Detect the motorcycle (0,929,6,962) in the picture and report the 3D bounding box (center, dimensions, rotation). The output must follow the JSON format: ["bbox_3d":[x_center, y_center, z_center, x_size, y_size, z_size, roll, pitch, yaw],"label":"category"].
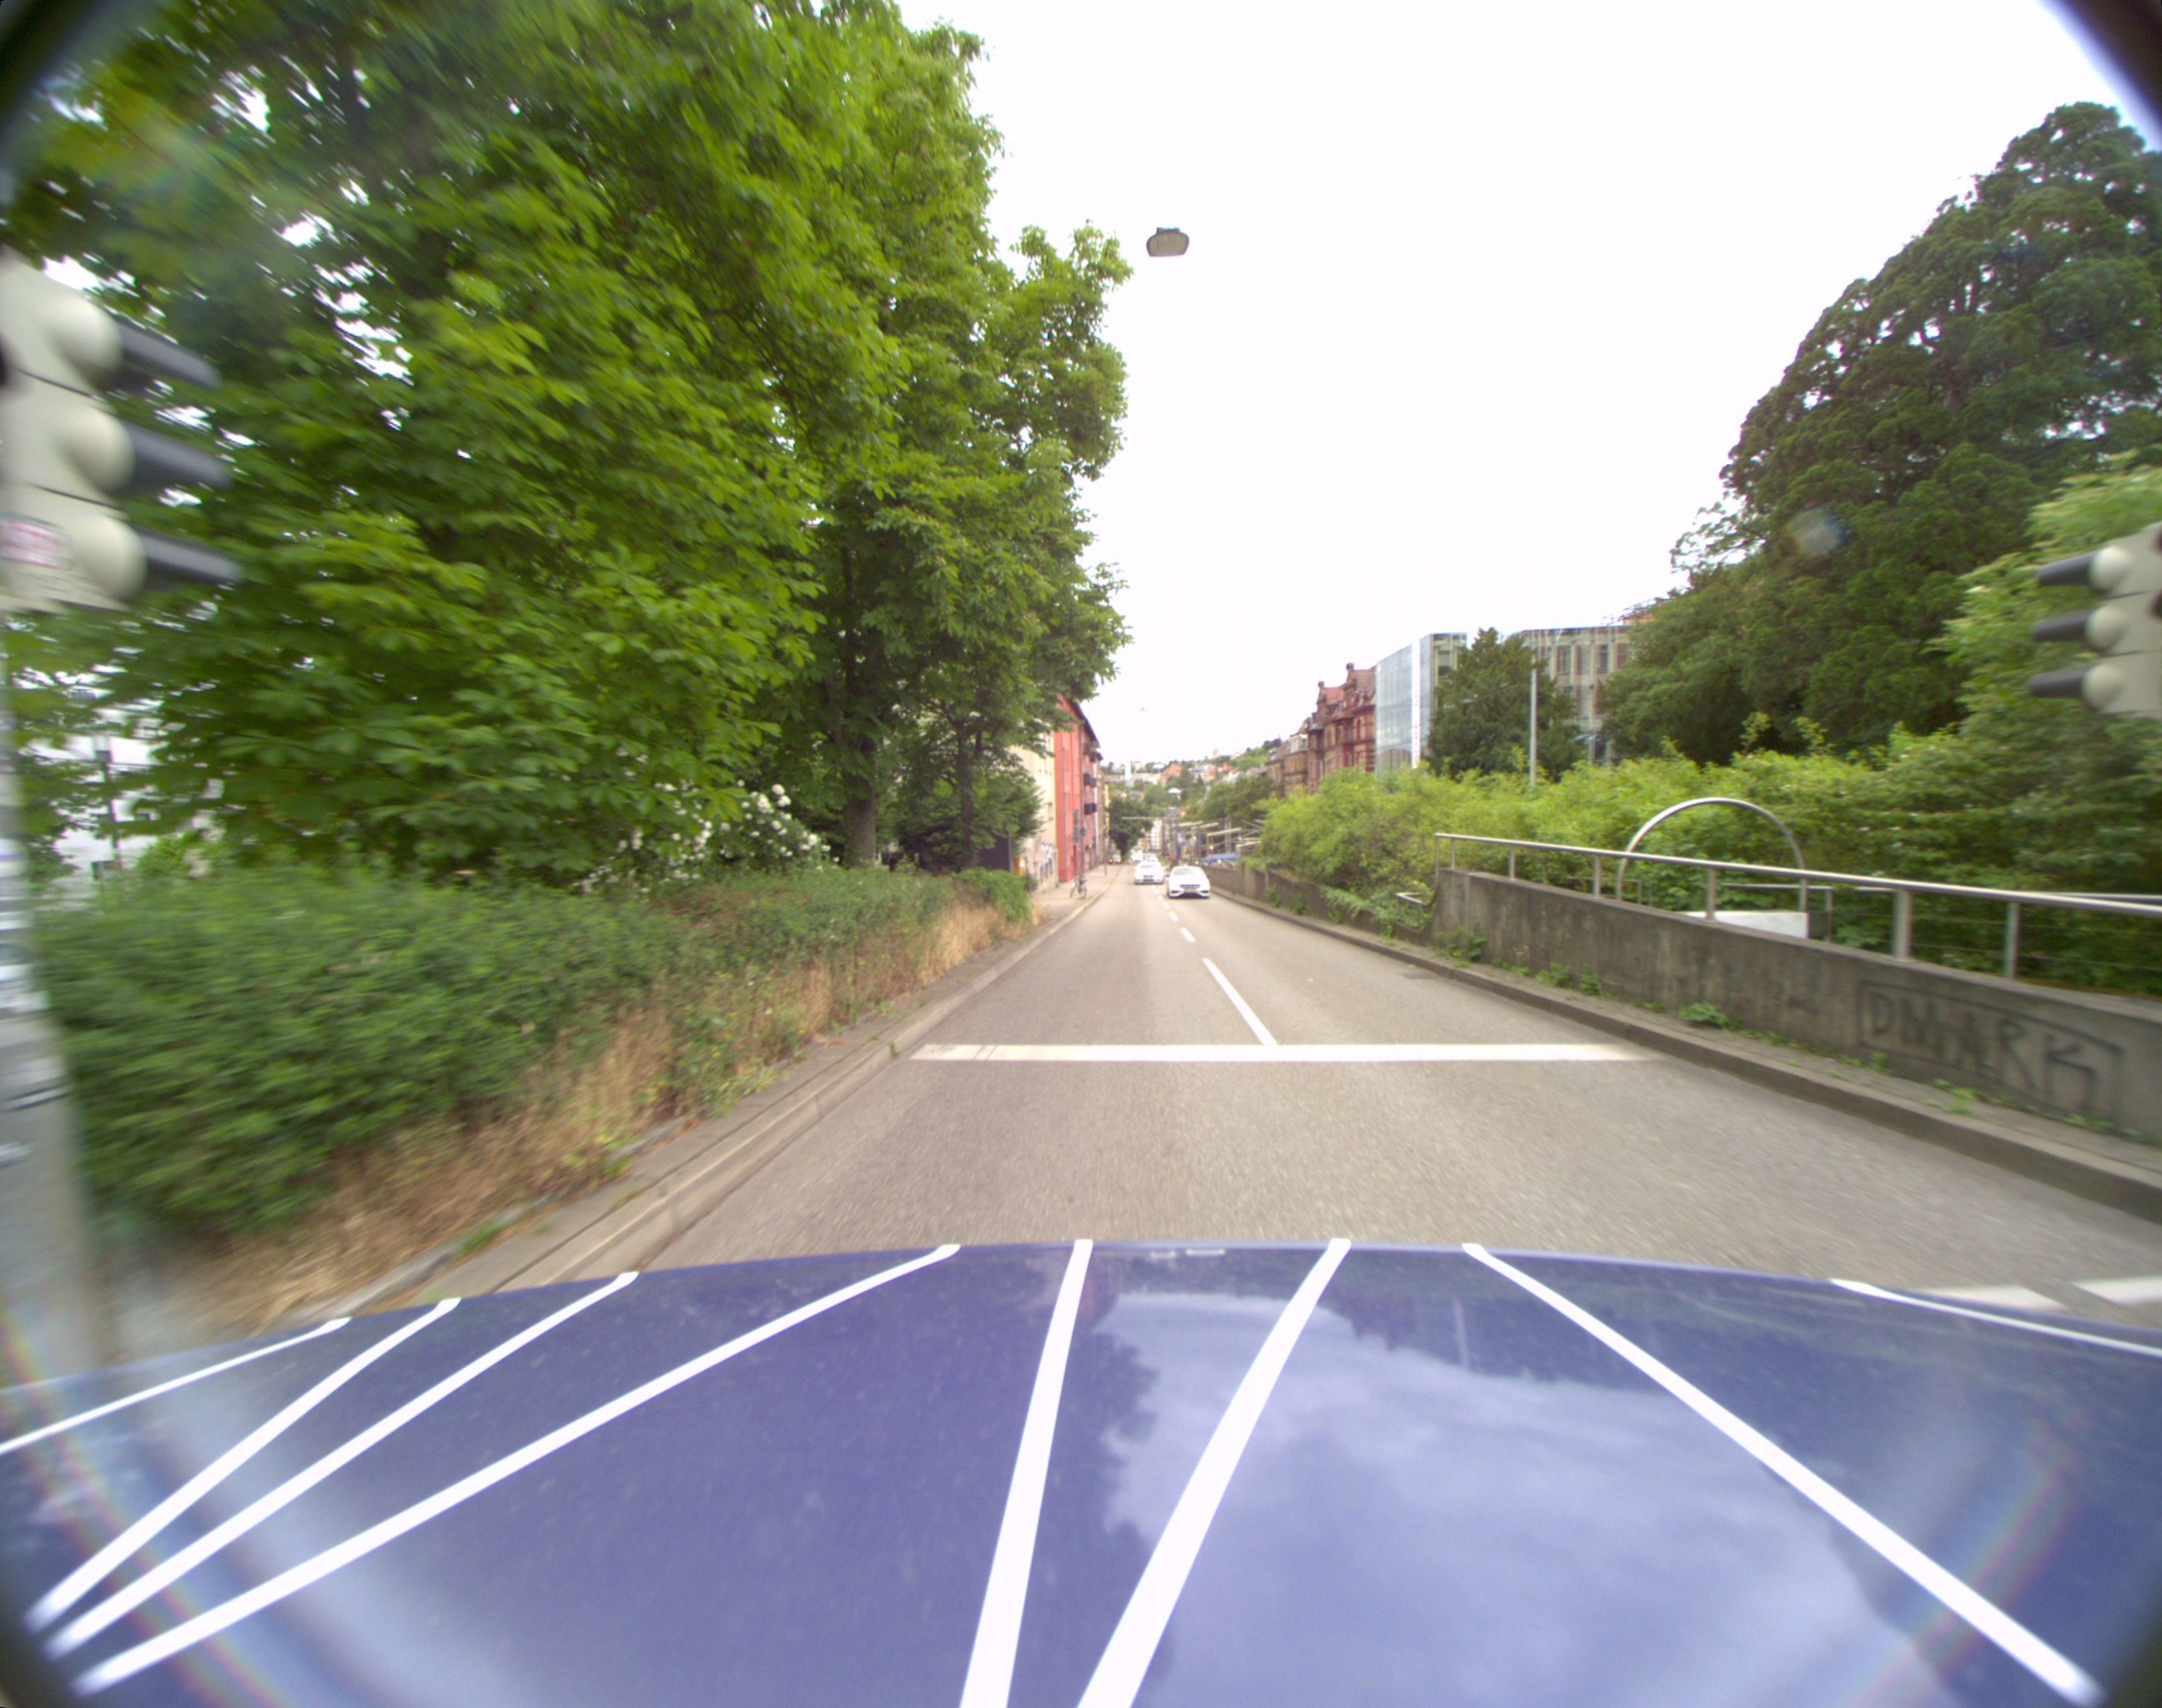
[{"bbox_3d":[-34.318,2.922,23.137,0.756,1.027,2.052,-3,1,-20],"label":"motorcycle"}]

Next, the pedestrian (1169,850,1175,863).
[{"bbox_3d":[11.528,0.276,96.282,0.680,1.670,0.685,-2,1,1],"label":"pedestrian"}]

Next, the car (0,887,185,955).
[{"bbox_3d":[-35.848,2.360,27.619,3.794,2.002,1.995,-4,1,-37],"label":"car"}]

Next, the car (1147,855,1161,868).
[{"bbox_3d":[10.042,0.983,105.029,1.881,1.727,4.001,-1,0,5],"label":"car"}]

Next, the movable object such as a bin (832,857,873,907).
[{"bbox_3d":[-7.041,0.853,23.389,0.813,1.478,1.075,0,1,-42],"label":"movable object such as a bin"}]

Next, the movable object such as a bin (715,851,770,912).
[{"bbox_3d":[-8.948,0.706,20.100,1.201,1.527,0.842,-3,1,-28],"label":"movable object such as a bin"}]

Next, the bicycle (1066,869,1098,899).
[{"bbox_3d":[0.018,1.215,31.212,0.641,1.137,2.061,0,1,-20],"label":"bicycle"}]

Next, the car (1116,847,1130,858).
[{"bbox_3d":[6.294,-0.258,113.568,1.861,1.701,4.309,0,1,5],"label":"car"}]

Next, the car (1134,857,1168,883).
[{"bbox_3d":[4.672,1.058,51.079,1.998,1.479,4.230,-4,0,3],"label":"car"}]

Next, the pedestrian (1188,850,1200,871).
[{"bbox_3d":[9.747,0.576,65.657,0.818,1.767,0.802,-2,1,-3],"label":"pedestrian"}]

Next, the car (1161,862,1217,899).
[{"bbox_3d":[4.852,1.167,34.814,1.998,1.390,4.230,-3,0,1],"label":"car"}]

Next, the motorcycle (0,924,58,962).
[{"bbox_3d":[-33.502,2.797,23.705,0.756,1.027,2.052,-3,1,-16],"label":"motorcycle"}]
